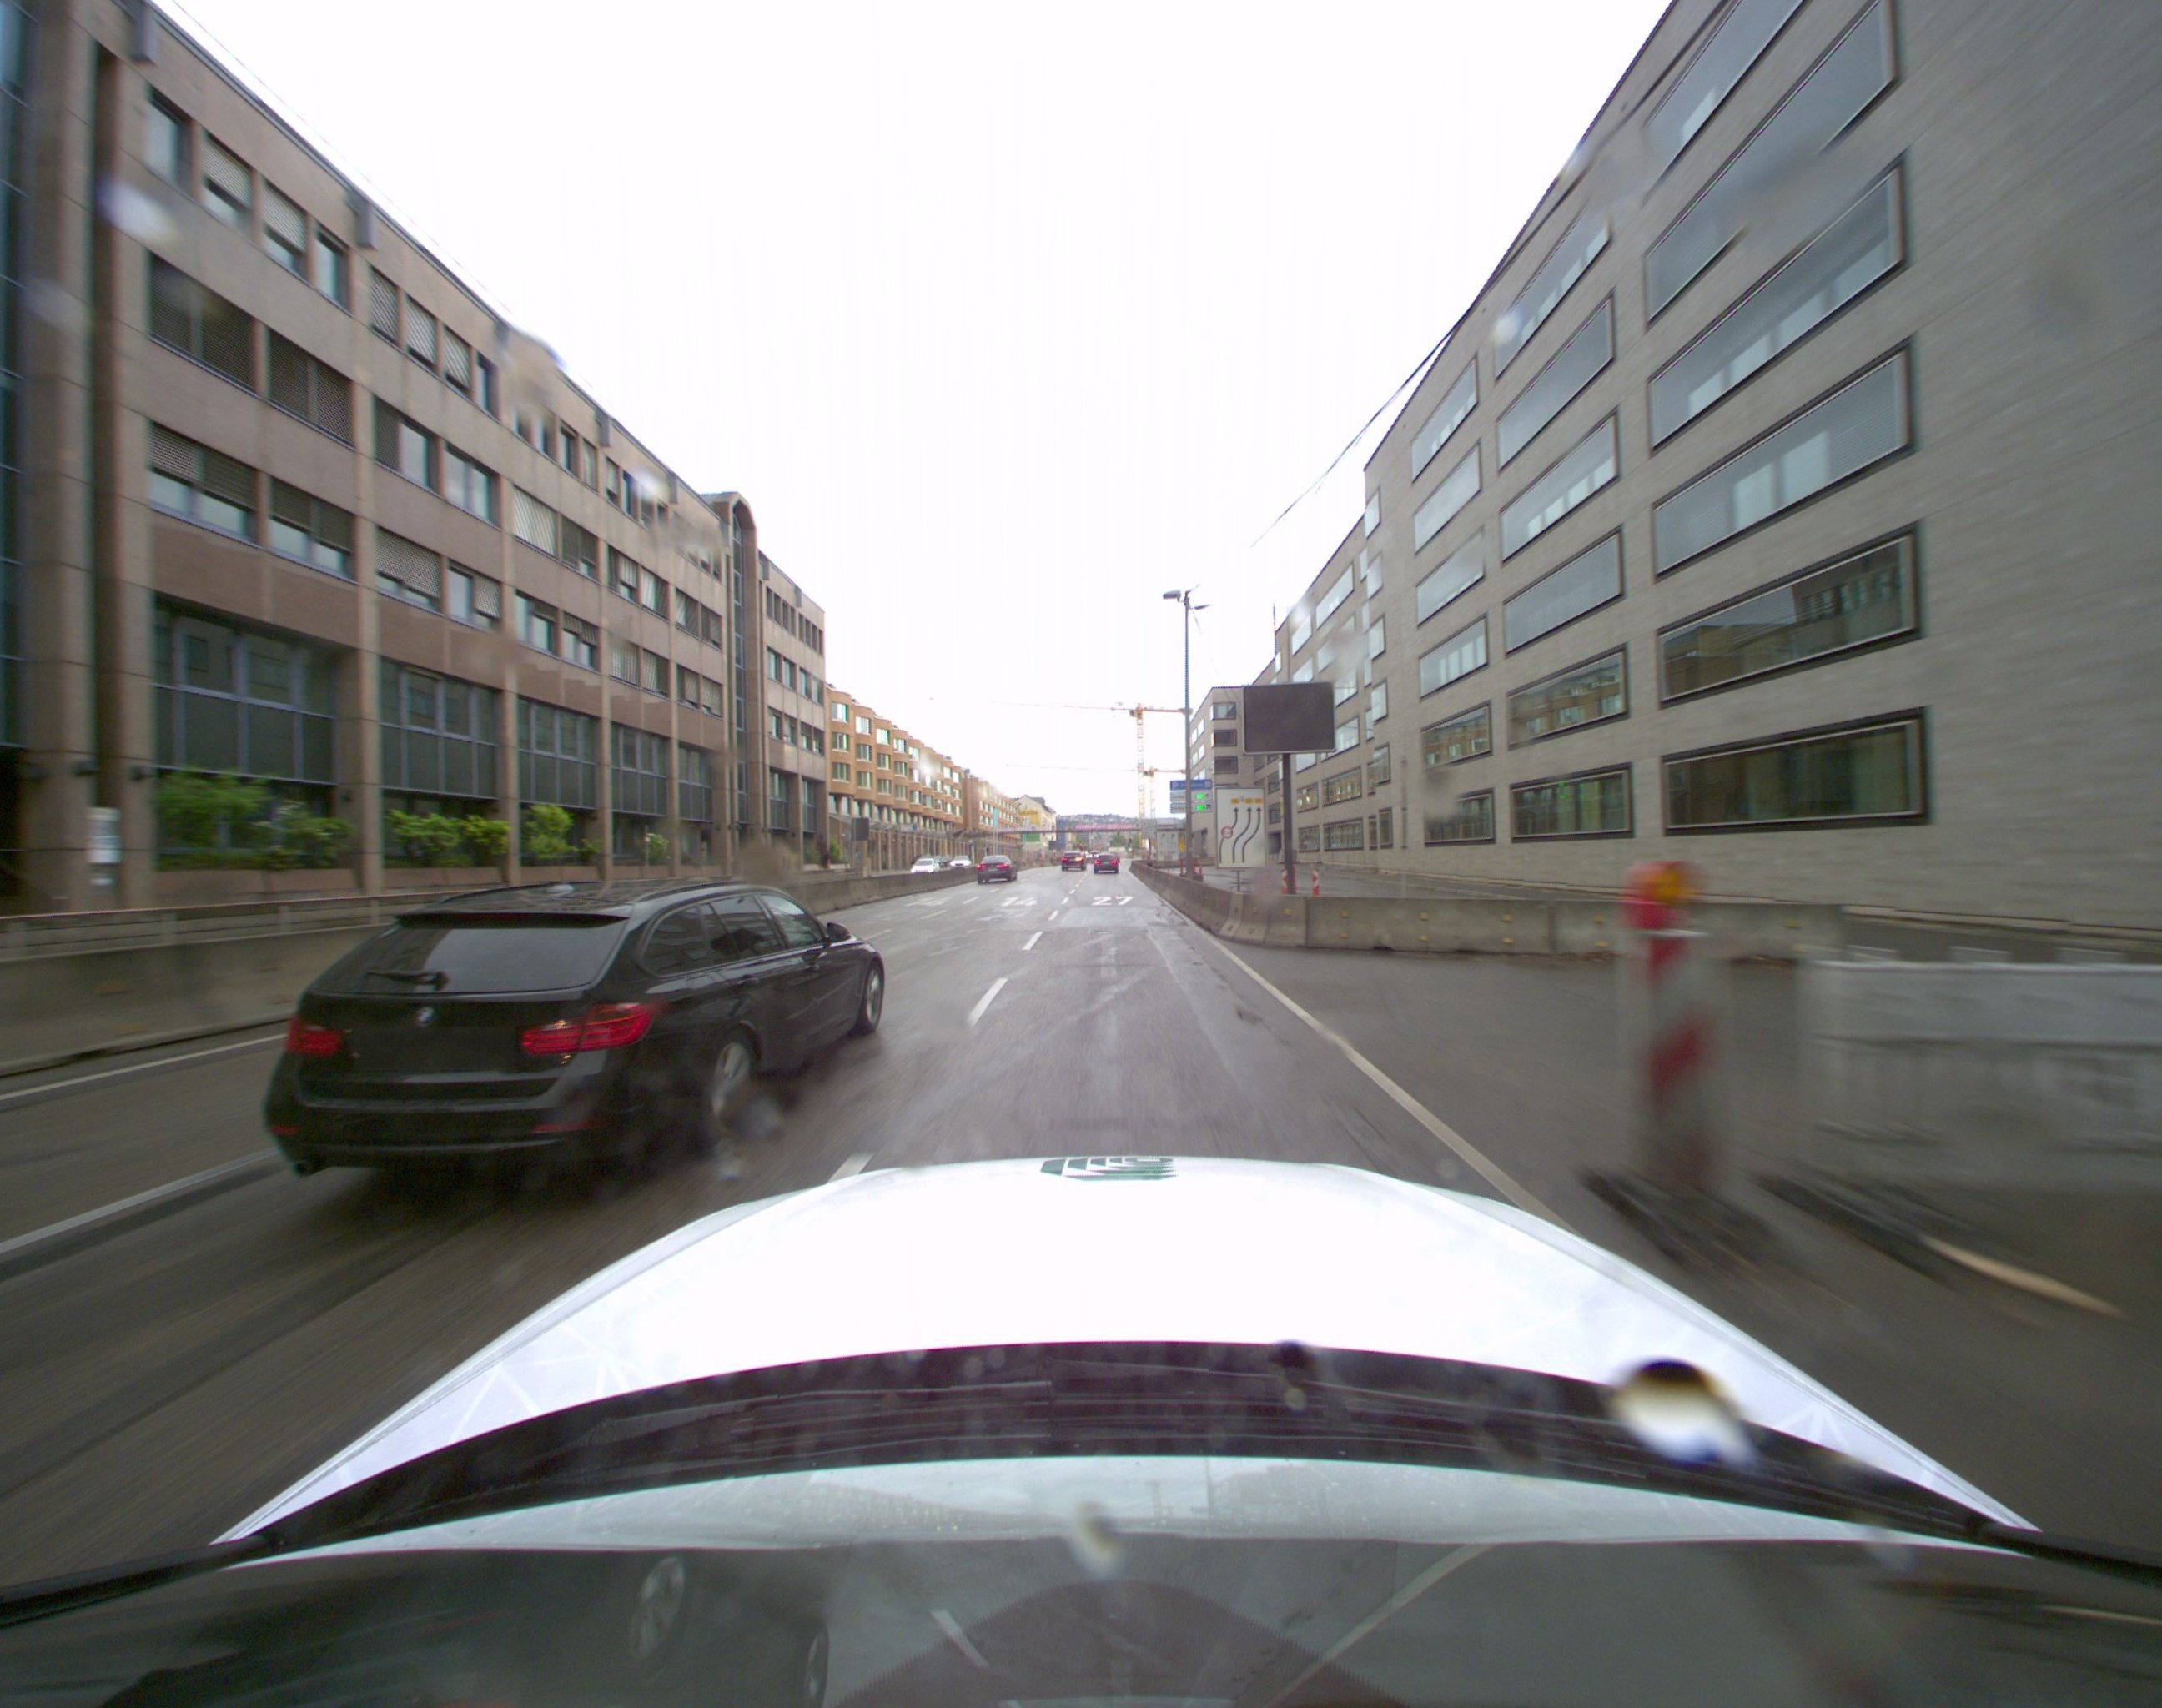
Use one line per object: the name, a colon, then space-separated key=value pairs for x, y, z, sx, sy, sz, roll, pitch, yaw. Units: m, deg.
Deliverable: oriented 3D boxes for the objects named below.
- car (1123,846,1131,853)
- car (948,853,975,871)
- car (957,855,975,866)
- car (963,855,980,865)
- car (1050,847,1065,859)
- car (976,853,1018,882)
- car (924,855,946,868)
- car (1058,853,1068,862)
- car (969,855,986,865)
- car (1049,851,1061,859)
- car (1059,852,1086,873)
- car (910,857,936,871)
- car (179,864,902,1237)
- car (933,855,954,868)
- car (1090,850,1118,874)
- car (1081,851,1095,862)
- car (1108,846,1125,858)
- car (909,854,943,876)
car: x=11.623 y=-1.078 z=204.145 sx=1.891 sy=1.693 sz=4.005 roll=-2 pitch=0 yaw=5
car: x=-12.117 y=0.783 z=82.737 sx=1.813 sy=1.618 sz=4.194 roll=-2 pitch=1 yaw=2
car: x=-18.247 y=1.057 z=129.481 sx=1.986 sy=1.620 sz=4.692 roll=-2 pitch=0 yaw=2
car: x=-18.131 y=0.982 z=135.350 sx=1.986 sy=1.620 sz=4.692 roll=-2 pitch=0 yaw=2
car: x=-3.568 y=-0.144 z=124.332 sx=1.986 sy=1.620 sz=4.766 roll=-2 pitch=0 yaw=2
car: x=-4.487 y=0.717 z=44.128 sx=1.785 sy=1.426 sz=4.383 roll=-2 pitch=0 yaw=-1
car: x=-19.246 y=1.028 z=107.390 sx=1.986 sy=1.620 sz=4.320 roll=-2 pitch=0 yaw=2
car: x=-4.139 y=0.821 z=188.979 sx=1.985 sy=2.013 sz=4.003 roll=-2 pitch=0 yaw=3
car: x=-17.910 y=1.081 z=141.191 sx=1.986 sy=1.620 sz=4.692 roll=-2 pitch=0 yaw=2
car: x=-5.482 y=0.139 z=172.069 sx=1.986 sy=1.620 sz=4.764 roll=-2 pitch=0 yaw=2
car: x=-0.713 y=0.730 z=70.255 sx=1.891 sy=1.693 sz=4.005 roll=-2 pitch=0 yaw=5
car: x=-19.471 y=1.172 z=100.367 sx=1.986 sy=1.620 sz=4.765 roll=-2 pitch=0 yaw=2
car: x=-2.699 y=0.824 z=5.599 sx=1.785 sy=1.426 sz=4.614 roll=-1 pitch=0 yaw=1
car: x=-18.960 y=1.031 z=112.258 sx=1.986 sy=1.620 sz=4.320 roll=-2 pitch=0 yaw=2
car: x=1.757 y=0.575 z=60.942 sx=1.892 sy=1.693 sz=4.004 roll=-2 pitch=0 yaw=4
car: x=1.179 y=0.375 z=130.079 sx=1.985 sy=1.620 sz=4.766 roll=-2 pitch=0 yaw=2
car: x=5.329 y=-0.271 z=121.273 sx=1.888 sy=1.693 sz=4.011 roll=-2 pitch=0 yaw=10
car: x=-11.414 y=0.777 z=60.117 sx=1.596 sy=1.442 sz=3.659 roll=-2 pitch=1 yaw=2
